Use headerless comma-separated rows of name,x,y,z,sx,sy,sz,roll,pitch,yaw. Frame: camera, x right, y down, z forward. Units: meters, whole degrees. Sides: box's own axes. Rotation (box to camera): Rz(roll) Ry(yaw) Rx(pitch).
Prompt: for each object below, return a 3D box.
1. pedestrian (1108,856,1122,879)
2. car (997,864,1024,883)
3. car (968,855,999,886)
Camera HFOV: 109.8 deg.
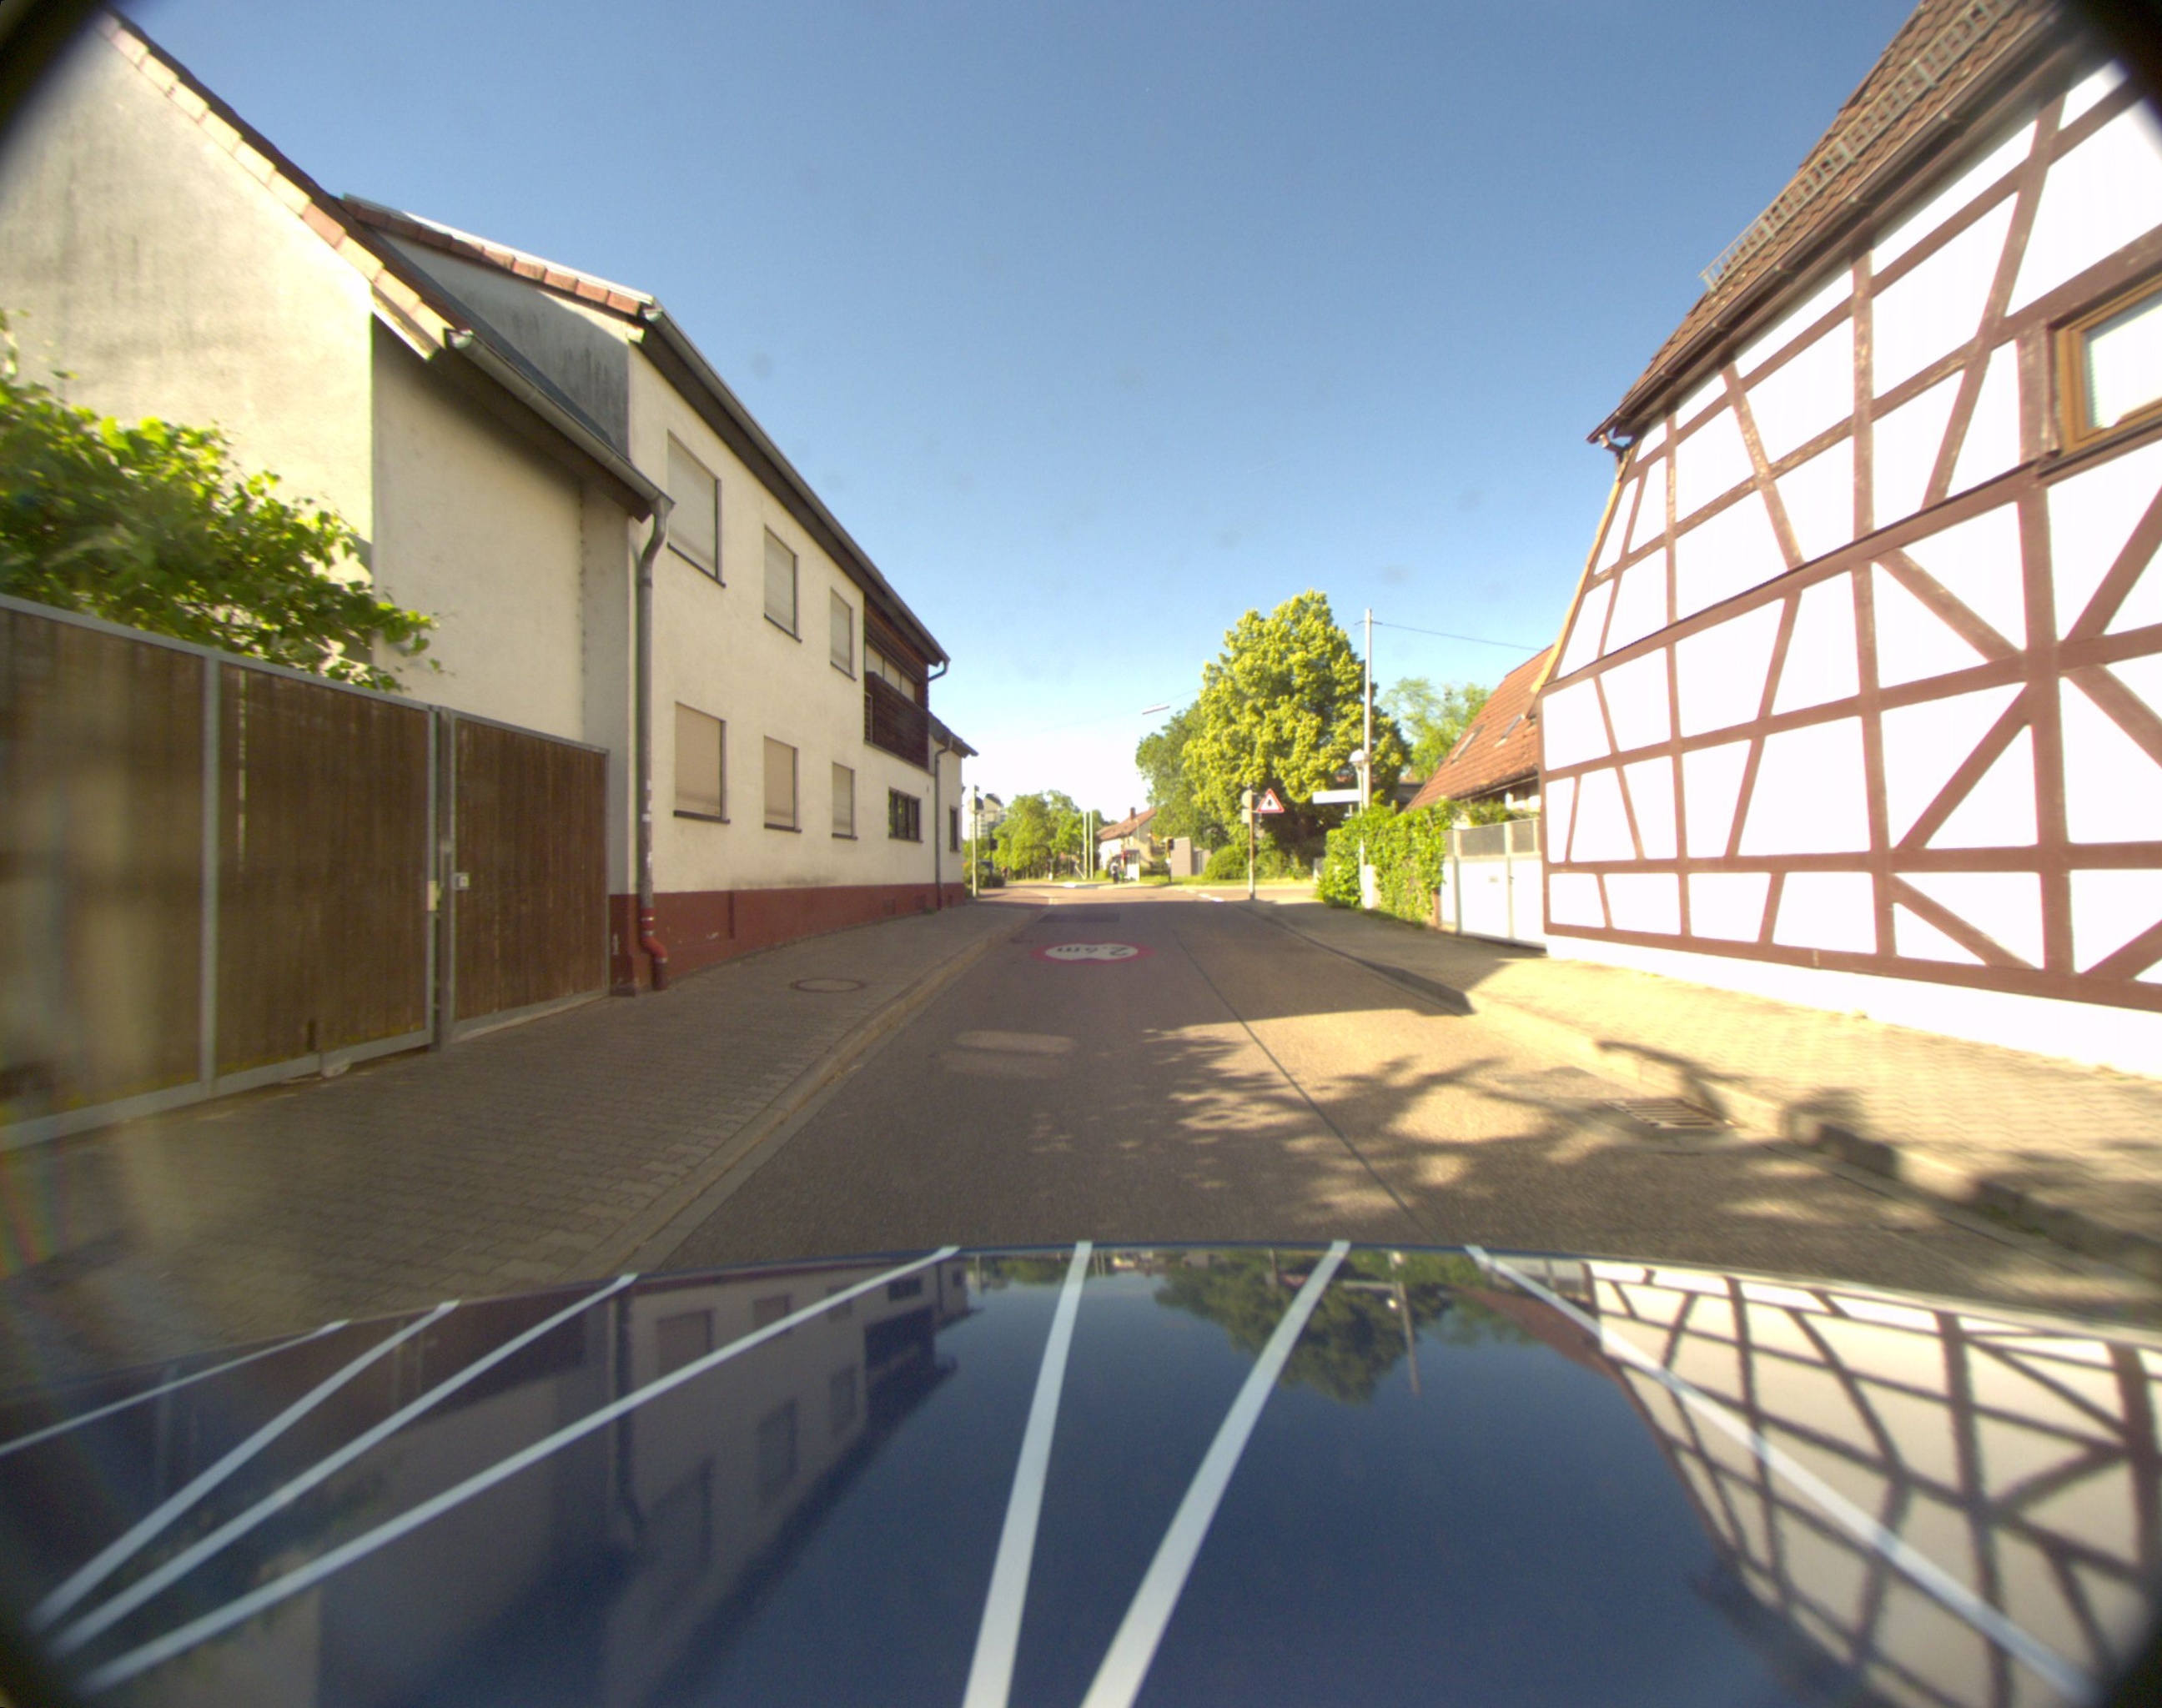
pedestrian,2.704,1.050,60.140,0.716,1.792,0.772,-2,1,30
car,-7.243,1.983,77.903,1.967,1.908,4.572,-1,-1,-14
car,-6.911,1.162,53.971,2.000,2.066,4.575,-1,-1,-7
